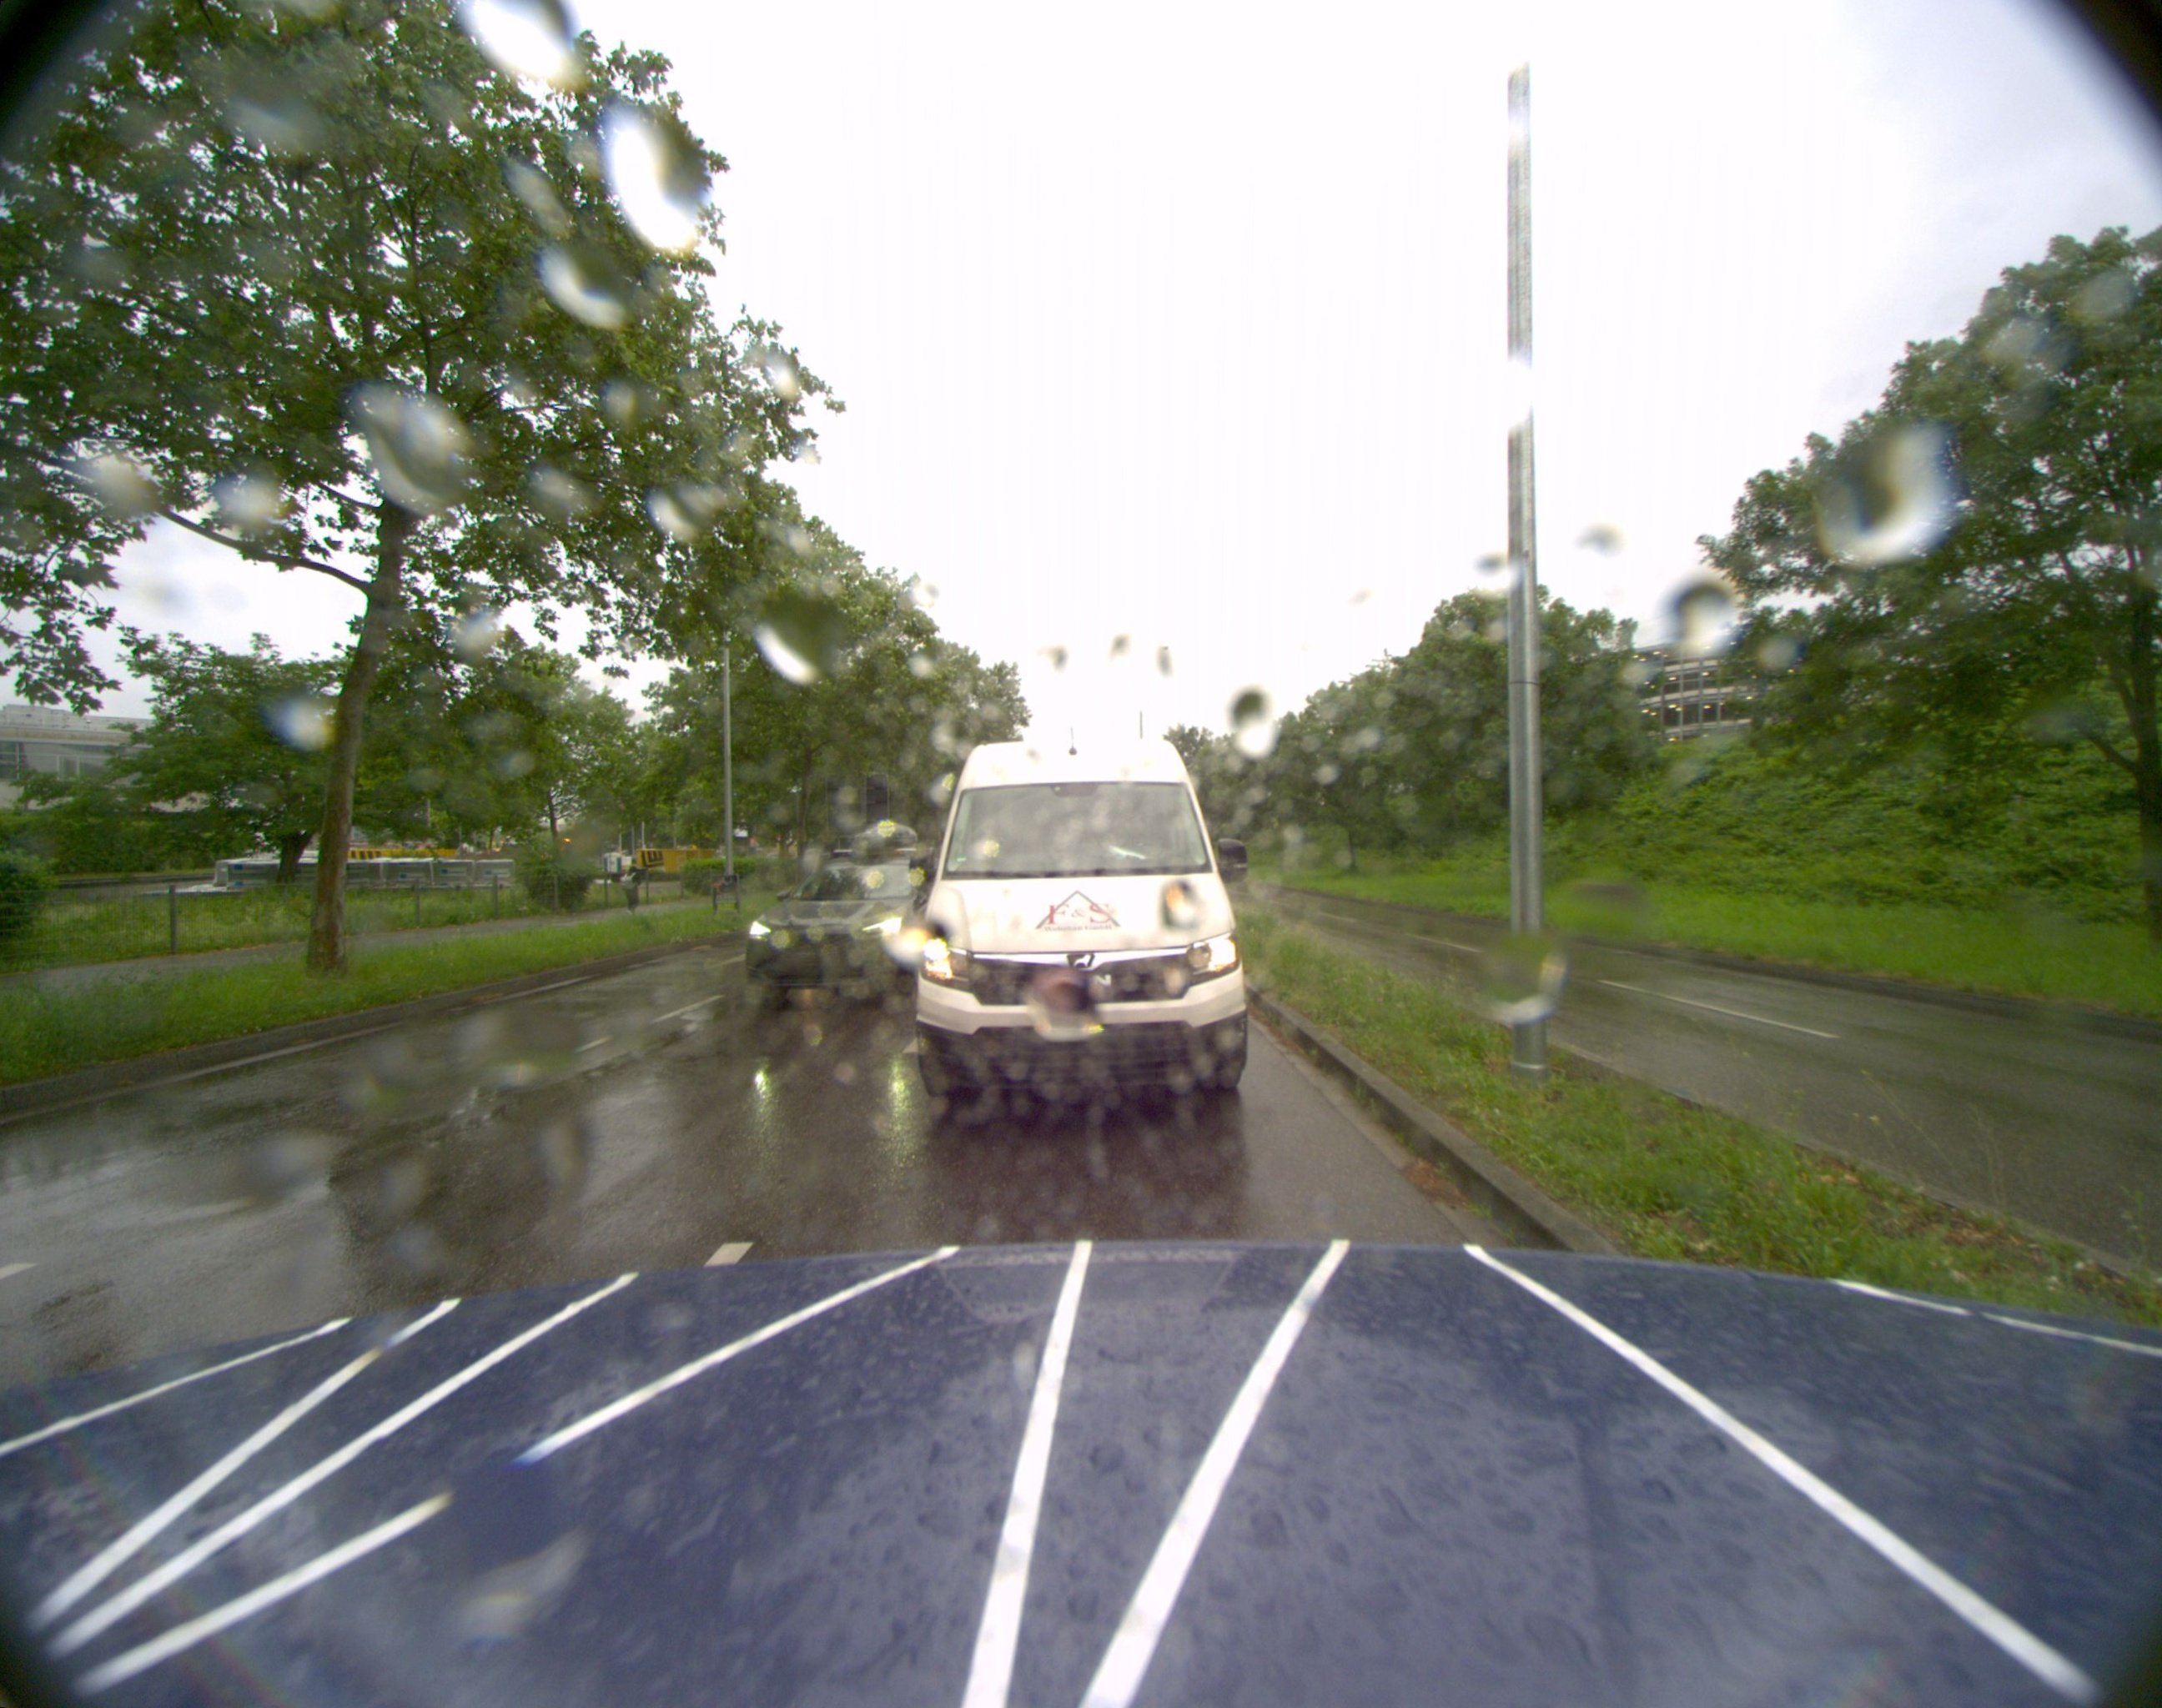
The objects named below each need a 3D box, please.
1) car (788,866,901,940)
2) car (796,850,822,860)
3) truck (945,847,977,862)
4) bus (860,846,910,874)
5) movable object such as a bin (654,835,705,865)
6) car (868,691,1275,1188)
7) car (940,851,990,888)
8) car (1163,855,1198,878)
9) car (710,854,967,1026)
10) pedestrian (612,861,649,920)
[{"bbox_3d":[-5.443,1.074,17.879,1.573,1.454,3.389,-2,0,0],"label":"car"},{"bbox_3d":[-36.769,0.133,102.856,3.154,1.321,1.427,-3,1,-26],"label":"car"},{"bbox_3d":[-20.979,0.089,132.618,5.061,2.363,1.792,-3,1,-30],"label":"truck"},{"bbox_3d":[-19.137,0.568,74.390,4.370,2.553,1.711,-2,1,0],"label":"bus"},{"bbox_3d":[-47.496,-0.478,89.987,4.946,3.415,1.913,-3,1,-36],"label":"movable object such as a bin"},{"bbox_3d":[-0.091,0.428,6.722,2.027,2.498,5.695,-1,0,-1],"label":"car"},{"bbox_3d":[-5.651,0.737,37.369,1.679,1.675,4.148,-3,0,1],"label":"car"},{"bbox_3d":[6.957,0.857,53.453,1.891,1.510,4.301,1,0,0],"label":"car"},{"bbox_3d":[-2.781,0.868,9.889,1.894,1.688,4.423,-1,0,0],"label":"car"},{"bbox_3d":[-13.539,1.077,22.856,0.646,1.707,0.656,-2,1,1],"label":"pedestrian"}]
